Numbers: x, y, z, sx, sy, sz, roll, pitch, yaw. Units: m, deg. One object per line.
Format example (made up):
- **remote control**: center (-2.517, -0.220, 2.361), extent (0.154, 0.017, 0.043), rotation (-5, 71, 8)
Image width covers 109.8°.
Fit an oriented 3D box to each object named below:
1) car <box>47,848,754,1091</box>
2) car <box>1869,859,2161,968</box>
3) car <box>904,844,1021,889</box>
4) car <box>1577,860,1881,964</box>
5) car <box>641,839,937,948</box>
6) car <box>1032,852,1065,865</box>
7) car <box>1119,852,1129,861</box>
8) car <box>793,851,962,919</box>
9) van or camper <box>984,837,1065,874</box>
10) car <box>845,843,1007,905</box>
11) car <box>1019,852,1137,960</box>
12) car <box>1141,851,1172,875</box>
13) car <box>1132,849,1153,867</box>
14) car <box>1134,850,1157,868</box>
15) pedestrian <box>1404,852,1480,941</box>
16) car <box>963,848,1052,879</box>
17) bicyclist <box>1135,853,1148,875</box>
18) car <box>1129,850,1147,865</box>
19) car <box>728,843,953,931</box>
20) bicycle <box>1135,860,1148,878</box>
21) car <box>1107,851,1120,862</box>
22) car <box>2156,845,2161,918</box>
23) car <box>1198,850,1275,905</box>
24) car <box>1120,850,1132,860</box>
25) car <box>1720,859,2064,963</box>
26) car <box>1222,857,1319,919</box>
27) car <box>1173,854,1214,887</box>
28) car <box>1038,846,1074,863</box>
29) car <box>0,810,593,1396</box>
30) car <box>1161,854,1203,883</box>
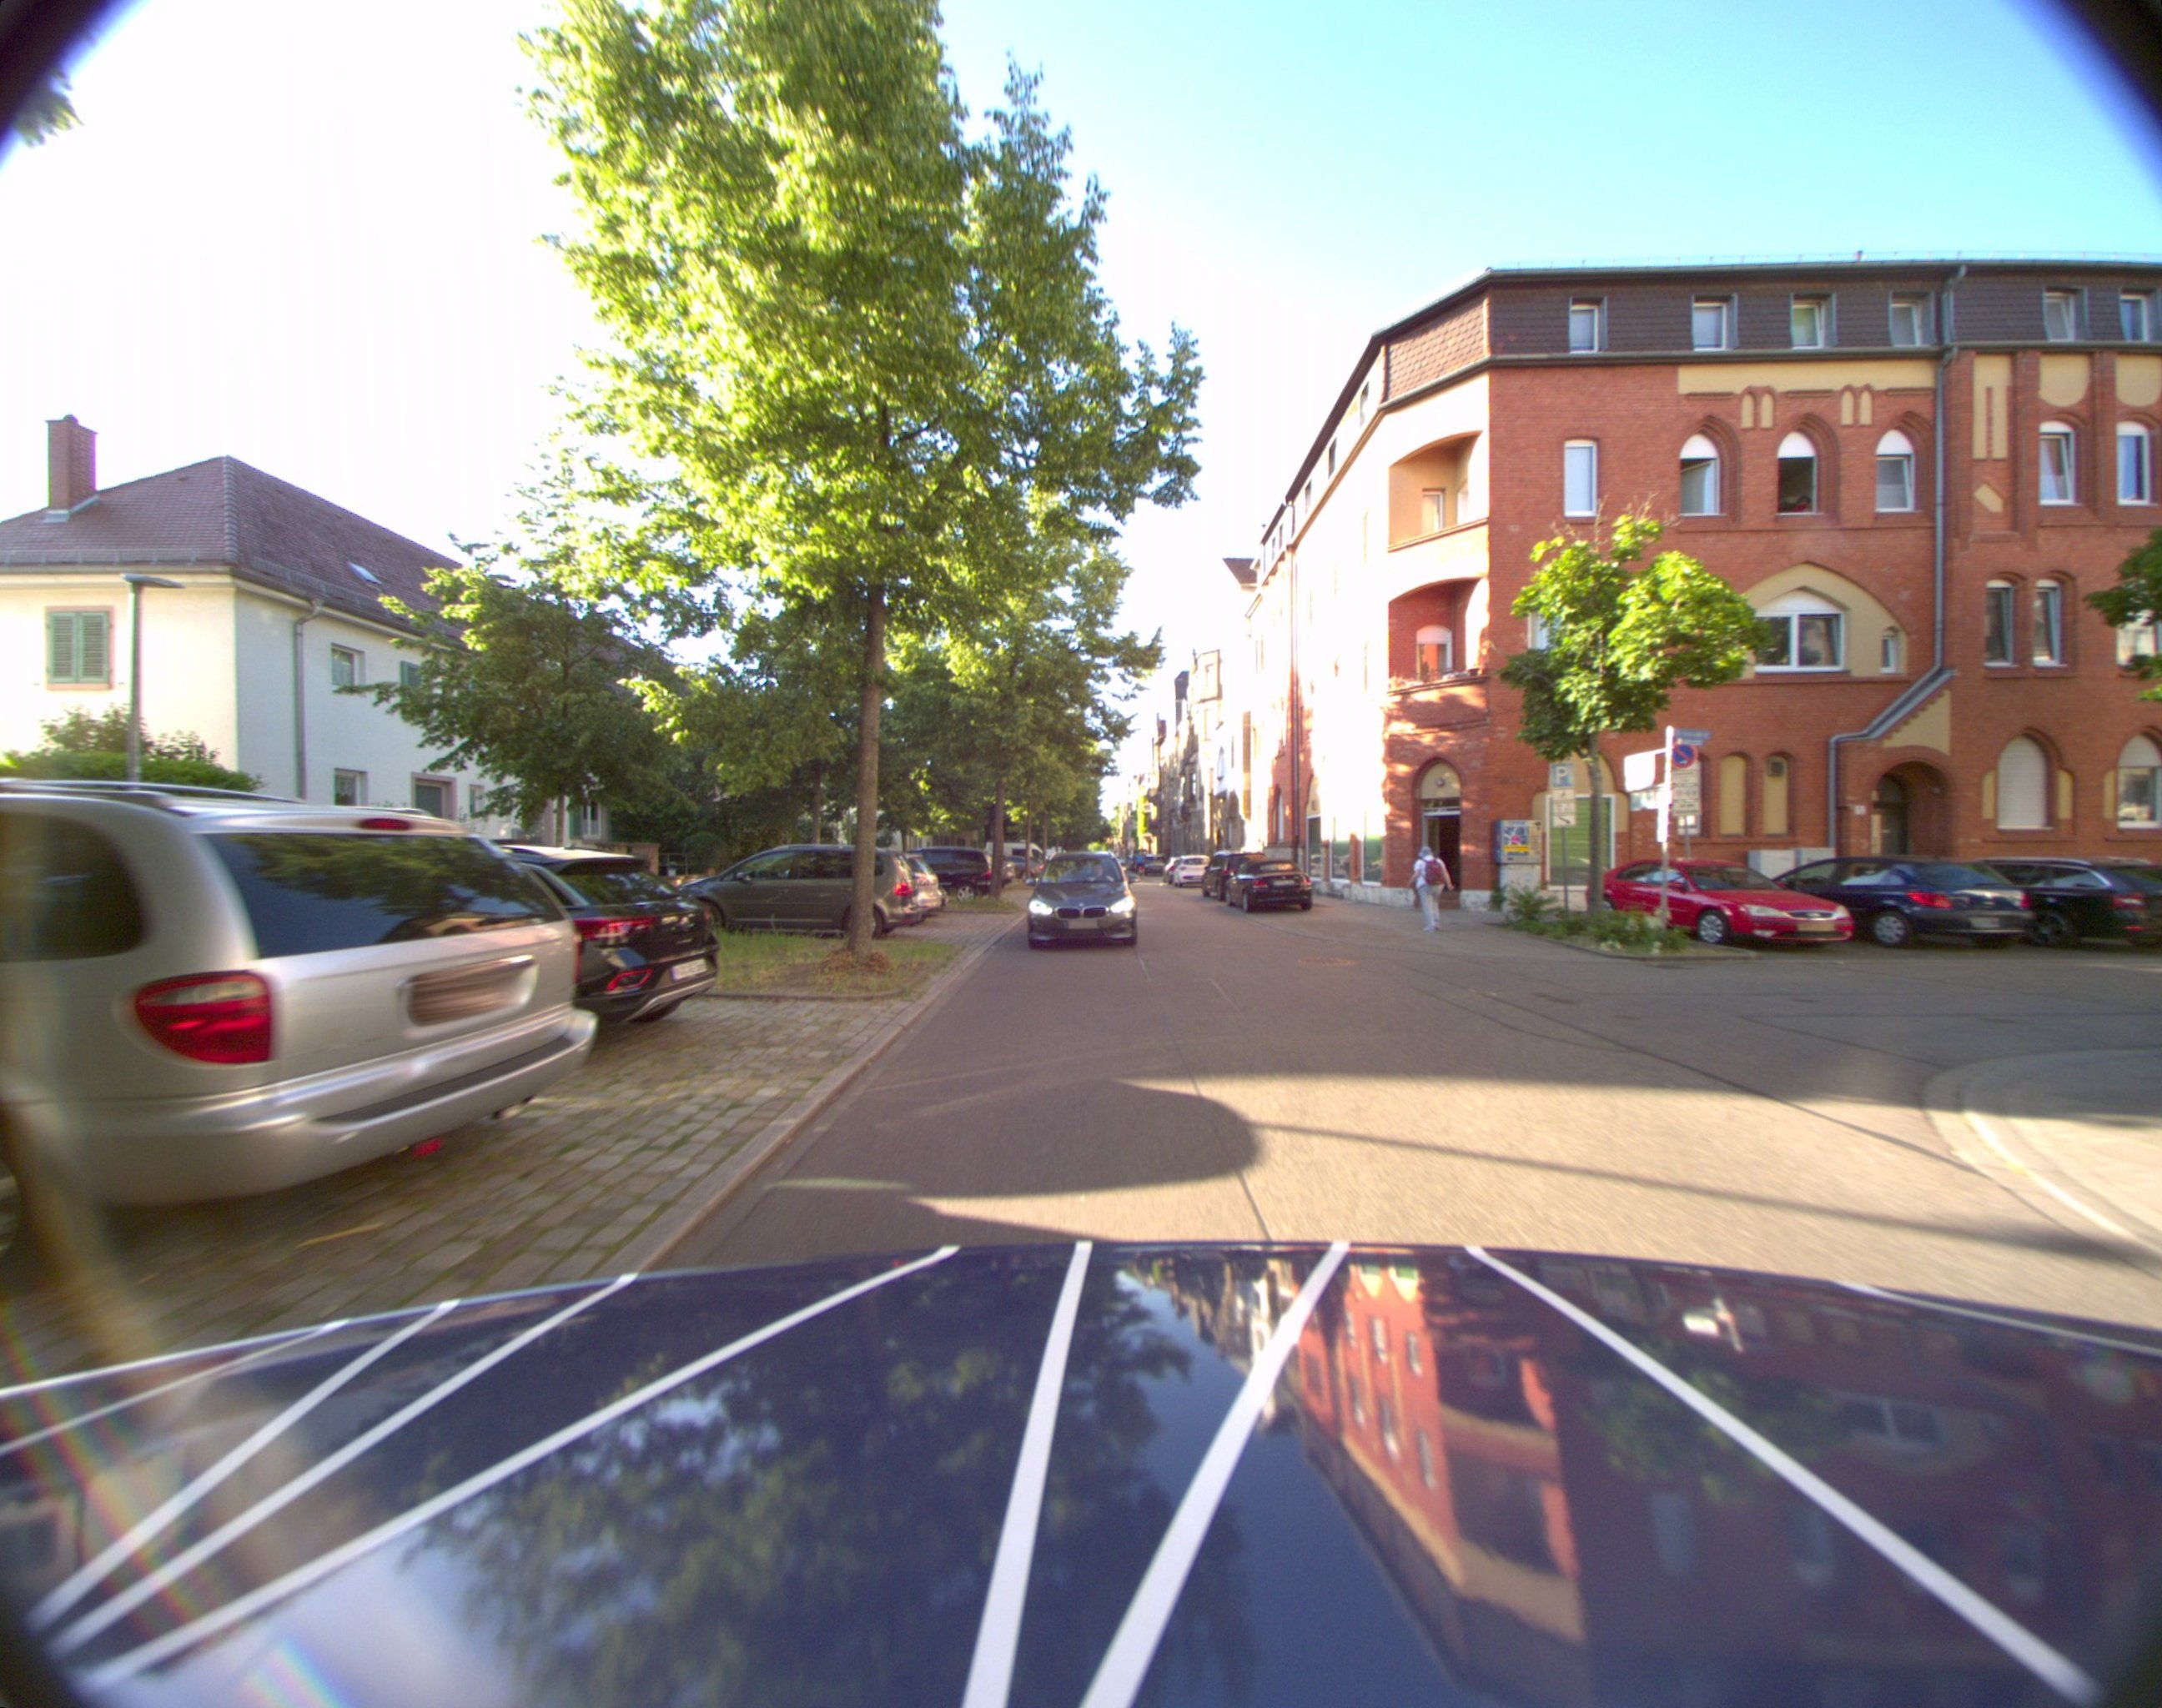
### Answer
- **car**: center (-5.031, 0.787, 6.026), extent (4.077, 1.468, 1.694), rotation (2, 0, 2)
- **car**: center (16.448, 0.880, 13.086), extent (1.717, 1.503, 3.915), rotation (-1, 1, 1)
- **car**: center (-4.820, 0.501, 31.399), extent (4.487, 1.624, 1.875), rotation (3, 0, 0)
- **car**: center (11.377, 0.903, 13.887), extent (1.639, 1.460, 4.657), rotation (-2, 1, 1)
- **car**: center (-4.991, 0.663, 13.542), extent (4.552, 1.624, 1.811), rotation (3, 1, -5)
- **car**: center (-3.933, 0.577, 91.891), extent (3.998, 1.504, 1.572), rotation (0, 0, -3)
- **car**: center (7.977, 0.408, 142.208), extent (1.710, 1.496, 3.629), rotation (-4, -1, 2)
- **car**: center (-4.986, 0.734, 18.932), extent (3.731, 1.445, 1.589), rotation (3, 1, 0)
- **van or camper**: center (-4.178, 0.097, 56.771), extent (5.733, 2.502, 2.162), rotation (3, 1, 0)
- **car**: center (-4.812, 0.594, 24.022), extent (4.592, 1.667, 1.907), rotation (3, 1, 3)
- **car**: center (0.014, 0.811, 14.004), extent (1.753, 1.596, 4.551), rotation (-3, 0, 1)
- **car**: center (5.678, 0.628, 57.451), extent (1.881, 1.707, 4.339), rotation (-2, 0, 1)
- **car**: center (6.156, 0.344, 75.981), extent (1.774, 1.658, 4.212), rotation (-1, 1, 0)
- **car**: center (5.876, 0.459, 69.653), extent (1.774, 1.493, 4.211), rotation (0, 2, 0)
- **pedestrian**: center (6.873, 0.784, 14.527), extent (0.890, 1.569, 1.053), rotation (1, 4, 1)
- **car**: center (-4.150, 0.540, 43.335), extent (4.850, 1.530, 1.894), rotation (3, 0, -1)
- **bicyclist**: center (4.014, 0.668, 50.387), extent (0.761, 1.445, 0.948), rotation (0, 1, 1)
- **car**: center (6.099, 0.407, 81.271), extent (1.633, 1.439, 3.856), rotation (-4, -1, 2)
- **car**: center (-5.146, 0.679, 16.557), extent (4.282, 1.624, 1.691), rotation (3, 1, 4)
- **bicycle**: center (4.014, 0.995, 50.397), extent (0.759, 1.101, 1.907), rotation (0, 1, 1)
- **car**: center (4.458, 0.384, 104.571), extent (1.631, 1.469, 3.759), rotation (1, 0, -1)
- **car**: center (23.581, 0.588, 13.956), extent (1.717, 1.541, 4.212), rotation (0, 0, 1)
- **car**: center (5.266, 0.728, 26.323), extent (1.673, 1.671, 4.349), rotation (-2, 1, -1)
- **car**: center (7.155, 0.138, 121.510), extent (1.686, 1.496, 3.629), rotation (-4, -1, 2)
- **car**: center (14.108, 0.875, 13.663), extent (1.717, 1.541, 4.212), rotation (0, 0, 1)
- **car**: center (5.116, 0.858, 21.065), extent (1.640, 1.402, 4.333), rotation (-3, 1, 1)
- **car**: center (5.339, 0.752, 36.425), extent (1.570, 1.462, 3.592), rotation (-2, 0, 3)
- **car**: center (-3.882, 0.037, 117.537), extent (5.448, 2.646, 2.134), rotation (0, 0, 1)
- **car**: center (-4.962, 0.676, 3.214), extent (4.630, 1.700, 1.833), rotation (1, 0, 2)
- **car**: center (5.470, 0.776, 41.510), extent (1.681, 1.434, 4.111), rotation (-2, 0, 0)
